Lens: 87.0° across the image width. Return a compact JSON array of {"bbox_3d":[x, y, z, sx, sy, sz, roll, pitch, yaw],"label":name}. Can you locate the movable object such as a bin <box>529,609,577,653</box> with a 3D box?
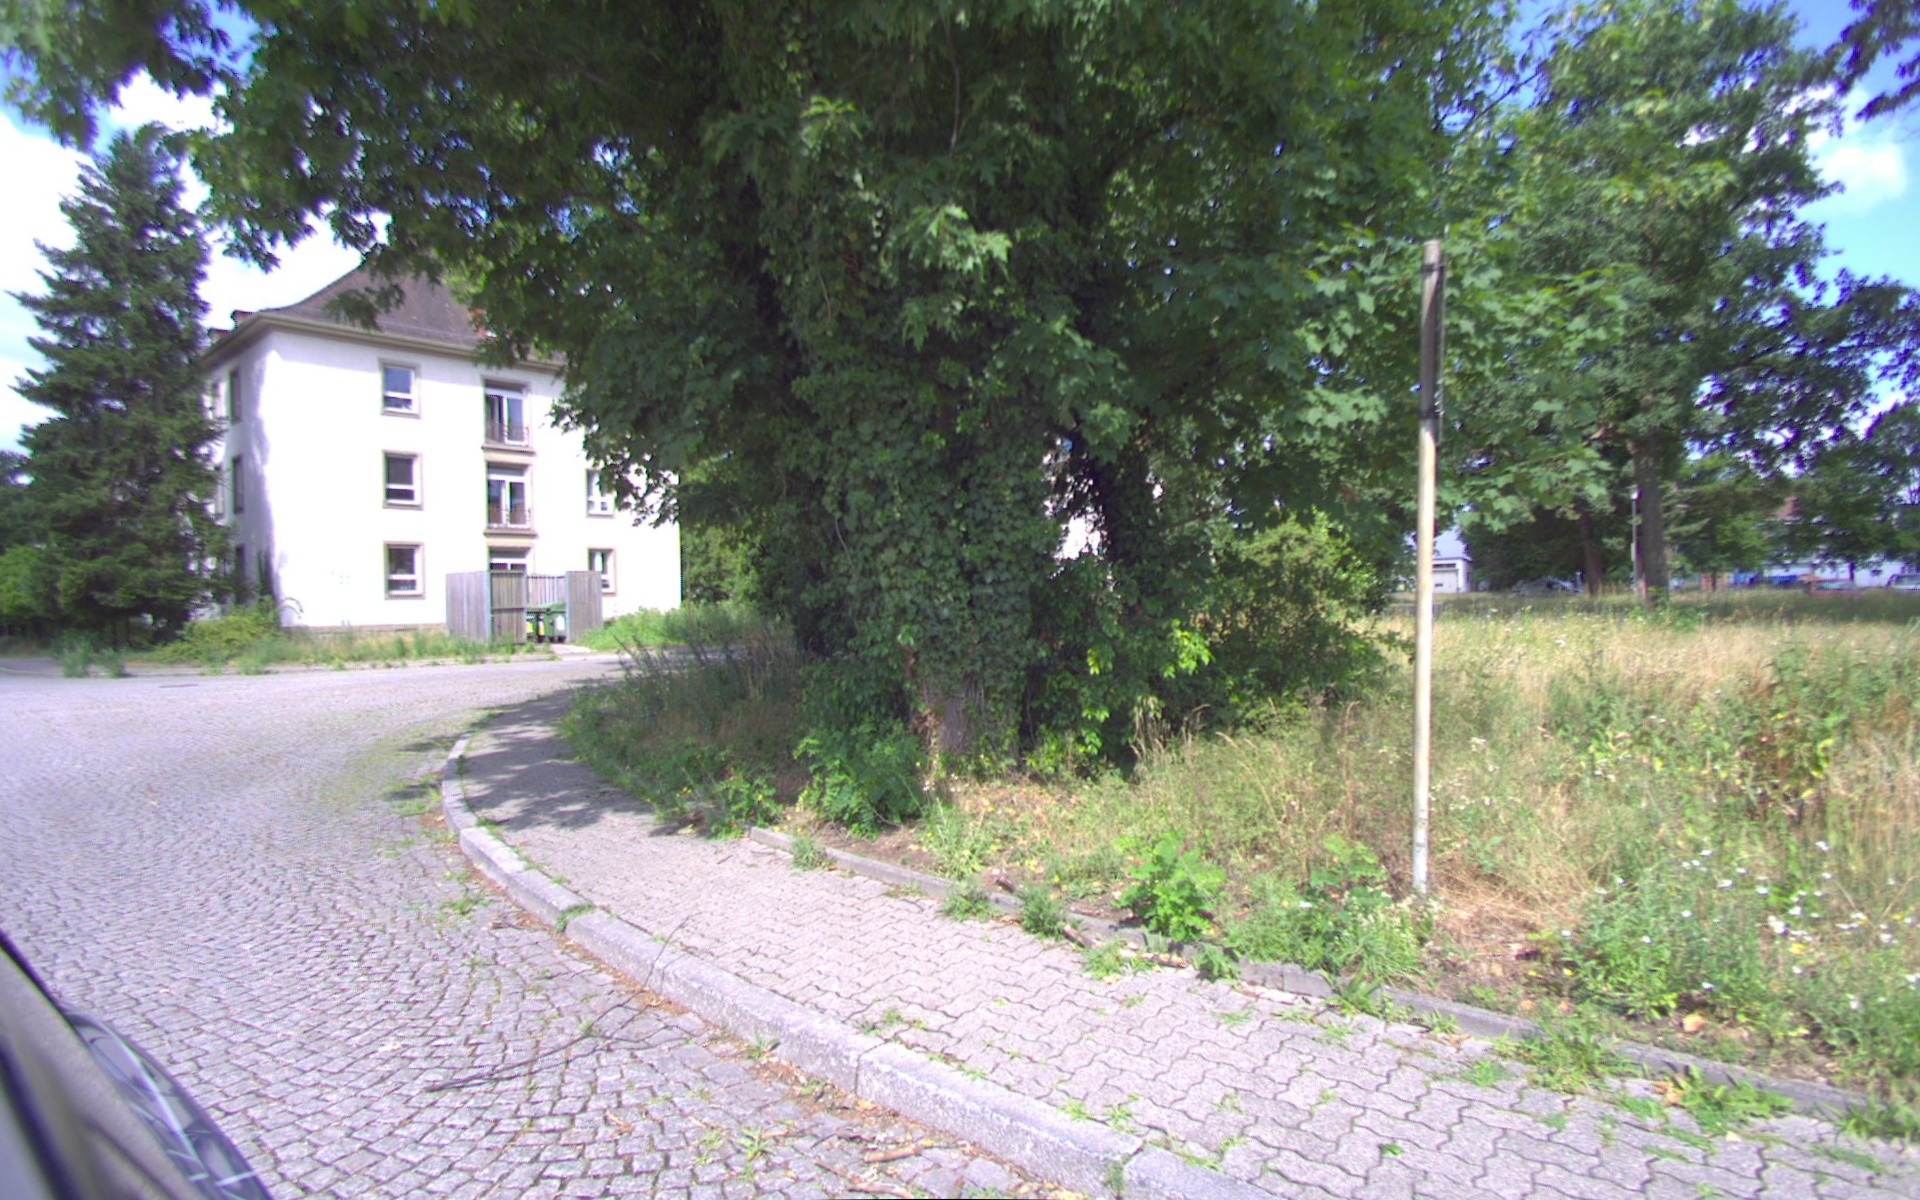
[{"bbox_3d":[-14.535,1.094,36.142,1.151,1.542,1.158,-2,-1,38],"label":"movable object such as a bin"}]

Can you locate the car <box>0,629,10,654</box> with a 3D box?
[{"bbox_3d":[-66.218,2.808,67.479,1.766,1.656,4.032,-2,-1,40],"label":"car"}]

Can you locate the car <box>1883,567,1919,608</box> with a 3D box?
[{"bbox_3d":[35.556,-0.462,37.420,1.899,1.423,4.017,-2,-1,40],"label":"car"}]

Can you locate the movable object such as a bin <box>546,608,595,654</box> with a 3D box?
[{"bbox_3d":[-13.606,1.070,35.380,1.151,1.542,1.158,-2,-1,38],"label":"movable object such as a bin"}]
